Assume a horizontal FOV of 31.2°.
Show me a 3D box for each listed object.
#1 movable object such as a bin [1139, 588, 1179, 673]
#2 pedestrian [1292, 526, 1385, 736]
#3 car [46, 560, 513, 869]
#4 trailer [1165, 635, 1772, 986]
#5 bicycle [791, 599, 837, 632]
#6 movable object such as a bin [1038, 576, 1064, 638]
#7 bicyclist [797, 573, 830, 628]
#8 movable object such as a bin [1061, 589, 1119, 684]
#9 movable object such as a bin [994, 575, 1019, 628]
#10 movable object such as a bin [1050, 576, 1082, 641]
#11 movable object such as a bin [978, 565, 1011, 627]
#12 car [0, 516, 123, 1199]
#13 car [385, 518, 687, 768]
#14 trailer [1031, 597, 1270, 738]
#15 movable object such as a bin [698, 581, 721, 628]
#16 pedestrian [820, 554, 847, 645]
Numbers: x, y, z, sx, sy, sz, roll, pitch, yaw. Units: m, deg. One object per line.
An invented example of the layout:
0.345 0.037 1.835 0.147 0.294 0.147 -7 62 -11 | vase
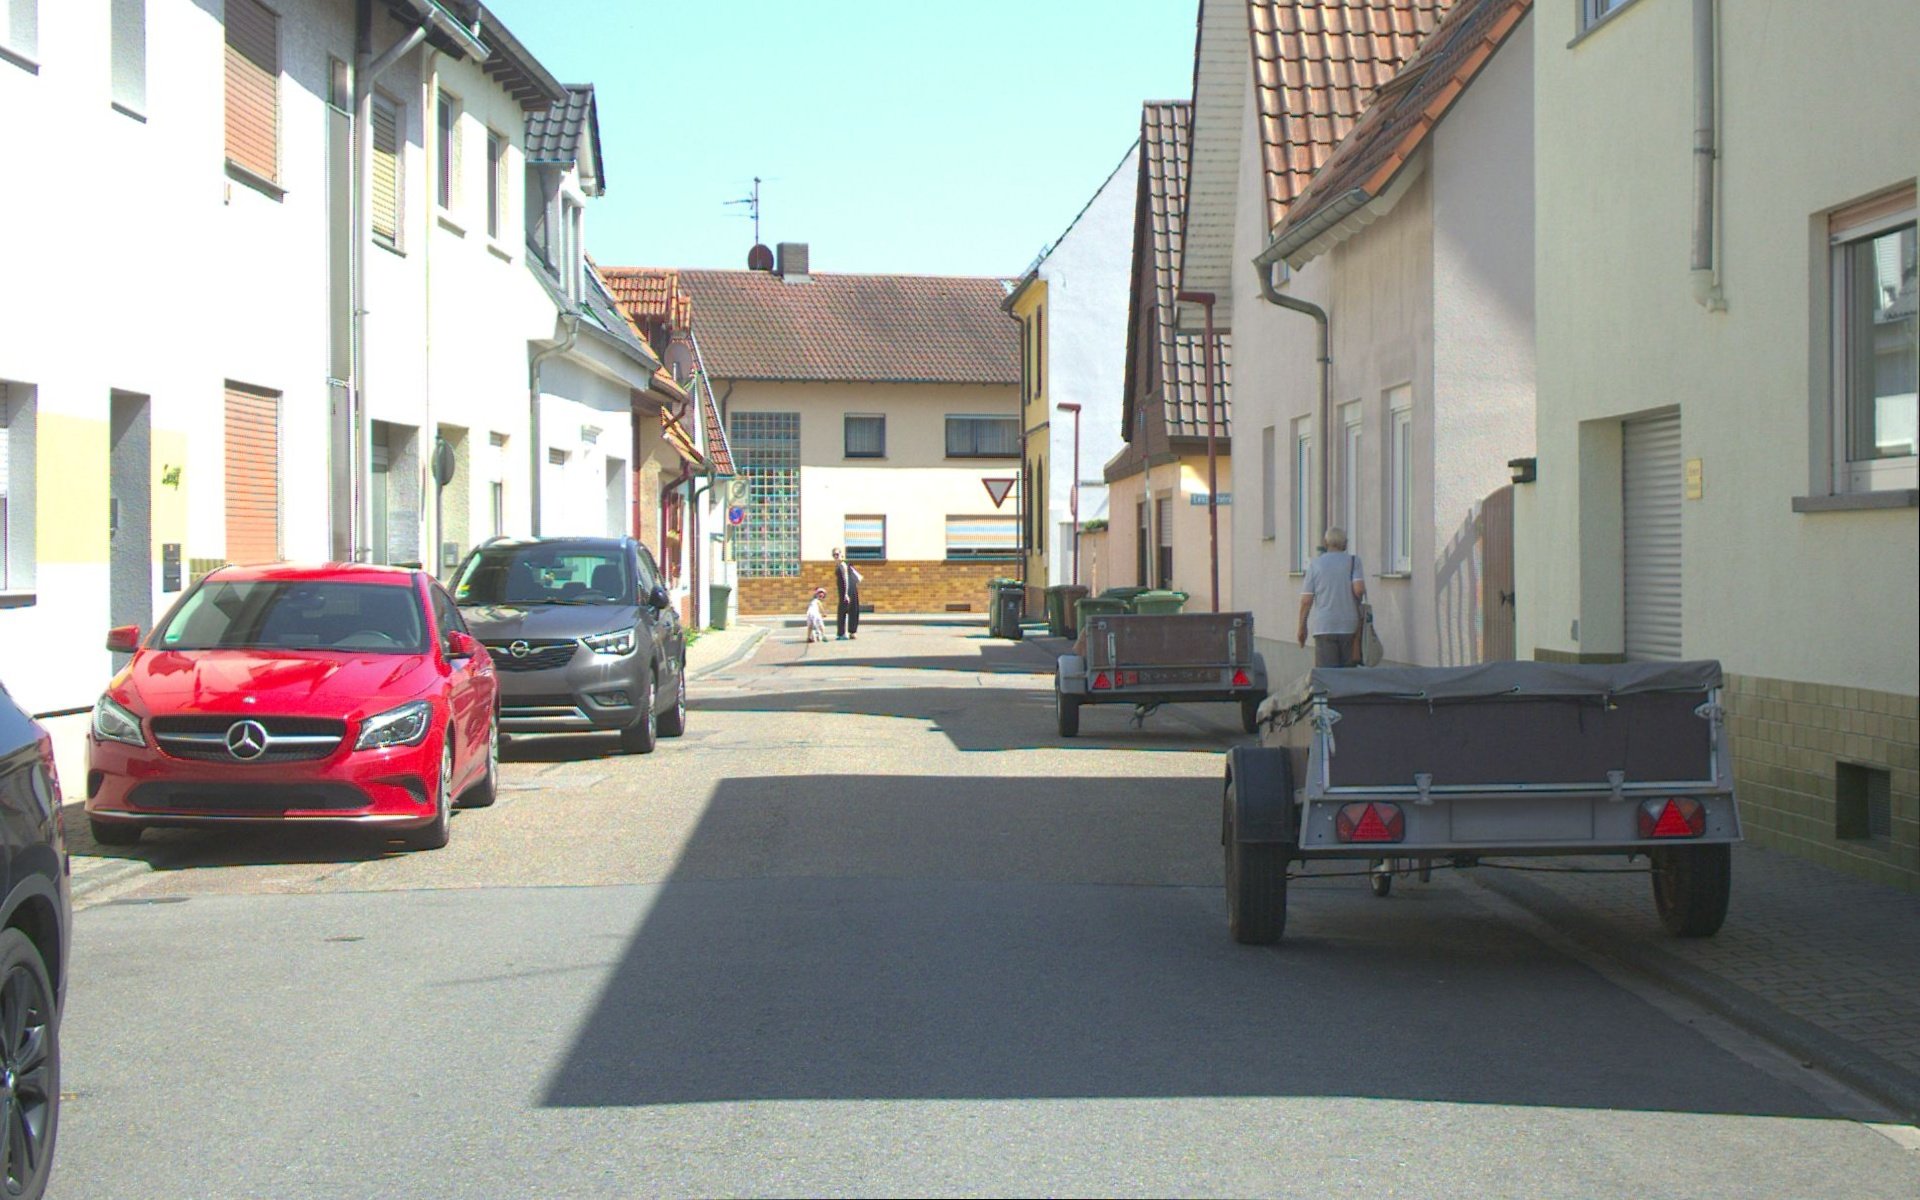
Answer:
2.586 0.396 44.747 0.457 1.083 0.502 -1 0 -2 | movable object such as a bin
2.853 0.242 25.967 0.595 1.559 0.557 0 -3 -3 | pedestrian
-3.505 0.517 18.503 1.800 1.436 4.488 -1 1 -3 | car
1.823 0.730 13.357 1.817 1.086 3.481 0 1 0 | trailer
-2.574 0.269 60.590 0.441 0.565 0.939 -1 1 -30 | bicycle
1.661 0.129 62.616 0.425 1.124 0.414 -1 0 -3 | movable object such as a bin
-2.579 0.002 60.590 0.461 0.956 0.352 -1 -1 -29 | bicyclist
1.446 0.401 38.263 0.585 1.029 0.596 -1 0 -2 | movable object such as a bin
0.855 0.027 63.168 0.424 0.972 0.473 -1 0 -3 | movable object such as a bin
1.853 0.153 60.052 0.525 1.124 0.366 -1 0 -3 | movable object such as a bin
0.635 -0.077 63.772 0.569 1.124 0.454 -1 0 -3 | movable object such as a bin
-2.905 0.632 5.924 1.800 1.568 4.615 -1 1 0 | car
-3.144 0.280 26.307 1.800 1.698 4.487 -2 1 -1 | car
1.504 0.516 28.221 1.699 1.029 3.481 0 1 -1 | trailer
-5.024 0.088 68.927 0.448 0.918 0.404 -1 0 -3 | movable object such as a bin
-2.254 -0.008 61.399 0.411 1.604 0.368 -1 0 -11 | pedestrian
